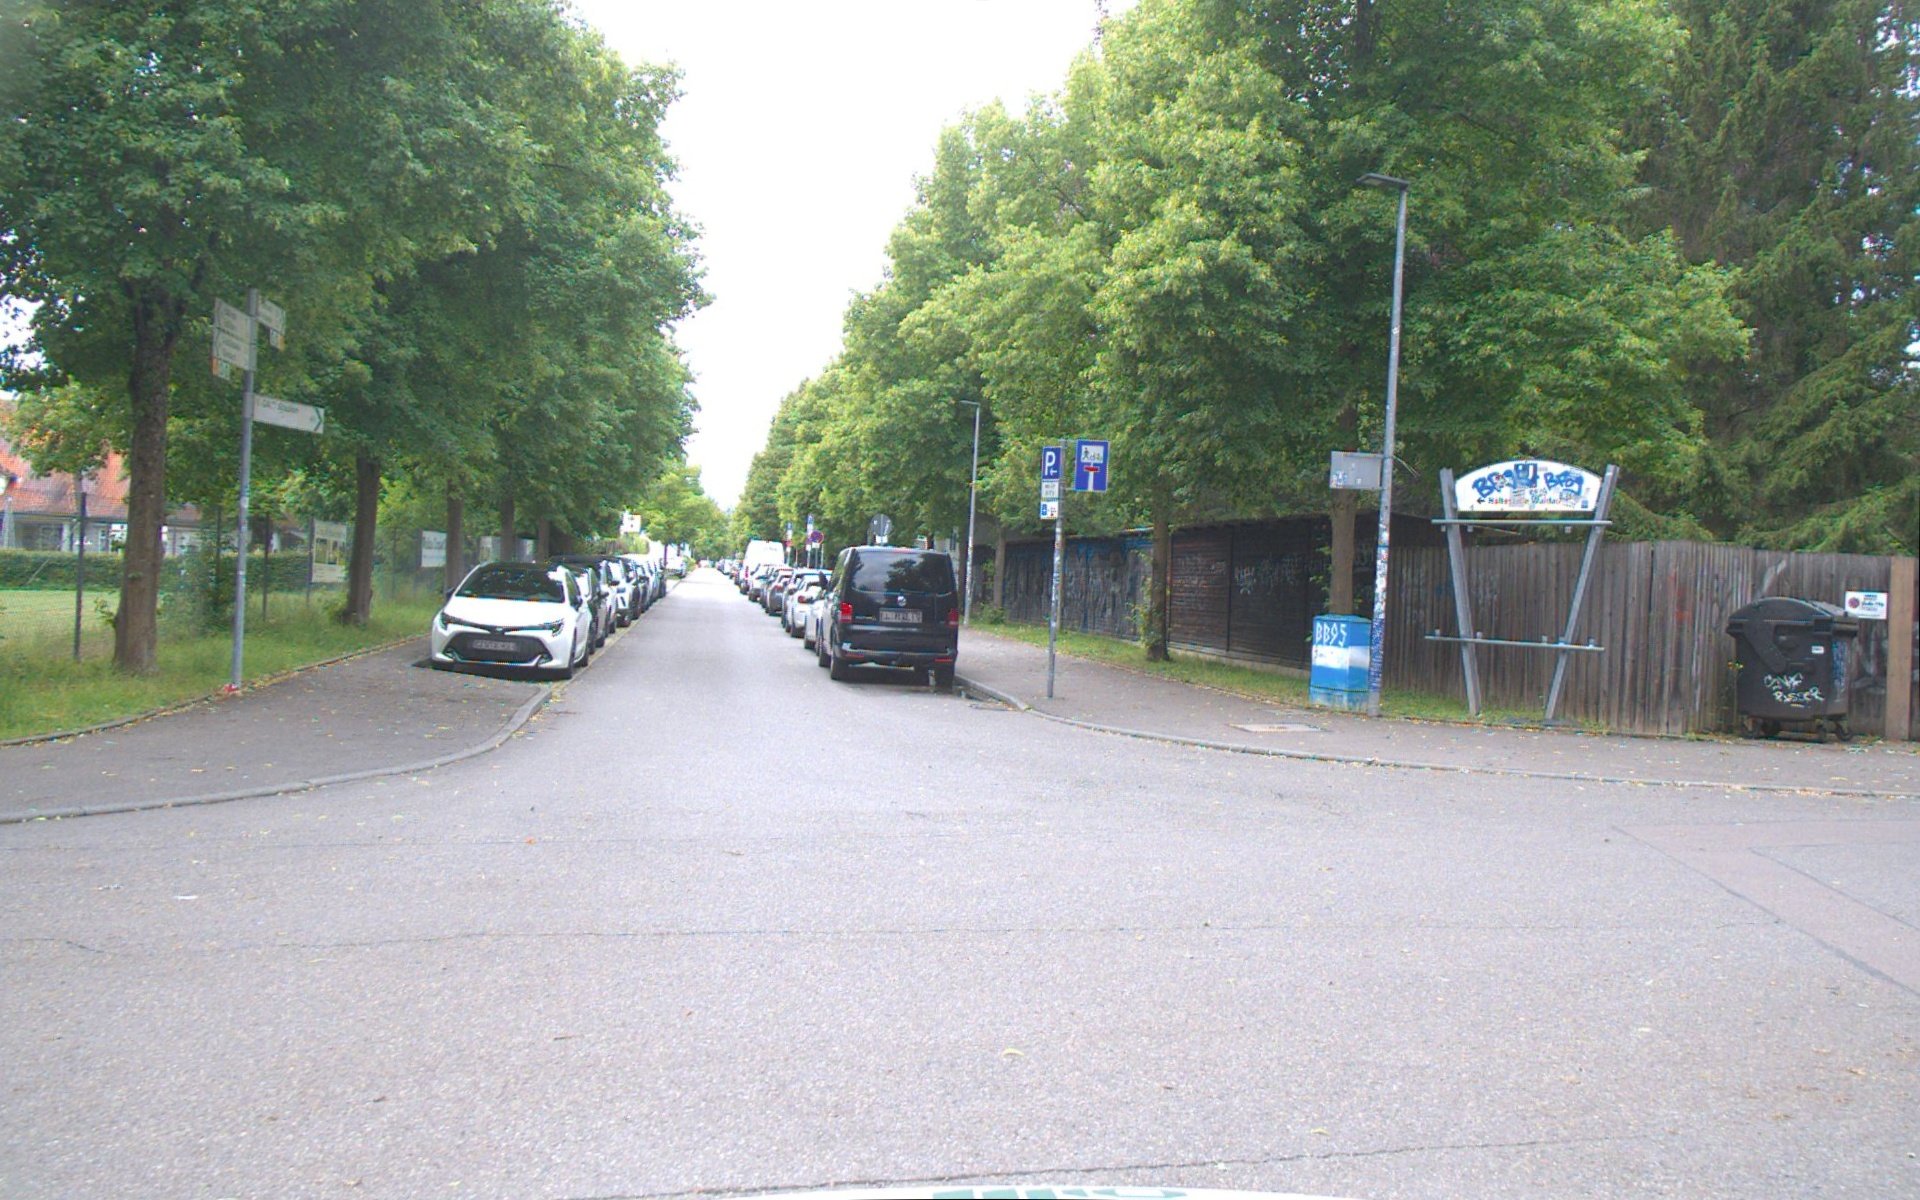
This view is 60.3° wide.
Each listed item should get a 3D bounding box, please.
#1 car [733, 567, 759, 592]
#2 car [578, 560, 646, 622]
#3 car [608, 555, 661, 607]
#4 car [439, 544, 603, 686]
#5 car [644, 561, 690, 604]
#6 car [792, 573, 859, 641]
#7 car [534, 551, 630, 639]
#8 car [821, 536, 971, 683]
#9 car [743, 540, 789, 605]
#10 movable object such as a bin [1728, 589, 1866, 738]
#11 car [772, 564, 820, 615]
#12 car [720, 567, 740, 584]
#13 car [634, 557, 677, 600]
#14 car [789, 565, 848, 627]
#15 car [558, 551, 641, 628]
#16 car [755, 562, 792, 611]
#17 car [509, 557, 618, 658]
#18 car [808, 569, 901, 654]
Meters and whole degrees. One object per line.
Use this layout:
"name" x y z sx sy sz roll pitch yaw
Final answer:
"car" -18.292 -1.751 141.743 1.954 2.049 3.996 1 0 -5
"car" -9.222 -0.250 43.948 1.565 1.483 3.186 4 0 -10
"car" -10.838 -0.640 55.145 1.565 1.586 3.186 4 0 -10
"car" -5.825 0.157 22.379 1.733 1.623 4.206 4 0 -11
"car" -10.664 -0.646 60.263 1.441 1.507 3.184 1 1 -7
"car" -3.244 0.137 39.465 1.441 1.507 3.184 1 1 -7
"car" -7.861 -0.123 34.649 1.661 1.623 3.990 4 0 -10
"car" -1.082 0.115 25.564 1.950 2.049 4.102 1 1 -7
"car" -9.681 -1.365 82.469 2.143 3.068 4.890 1 1 -7
"movable object such as a bin" 8.763 0.639 17.295 1.058 1.468 1.280 1 -1 38
"car" -5.306 -0.346 53.326 1.441 1.558 3.184 1 1 -7
"car" -24.292 -2.585 174.665 1.861 1.736 4.060 1 0 -5
"car" -11.742 -0.836 63.887 1.565 1.586 3.186 0 1 -10
"car" -3.833 -0.127 44.578 1.441 1.558 3.184 1 1 -7
"car" -8.518 -0.273 39.337 1.661 1.623 3.990 4 0 -10
"car" -7.818 -0.579 69.319 1.441 2.002 3.184 1 1 -7
"car" -6.637 0.091 27.953 1.518 1.480 3.656 4 0 -11
"car" -2.087 0.180 31.897 1.567 1.507 3.516 1 1 -7
